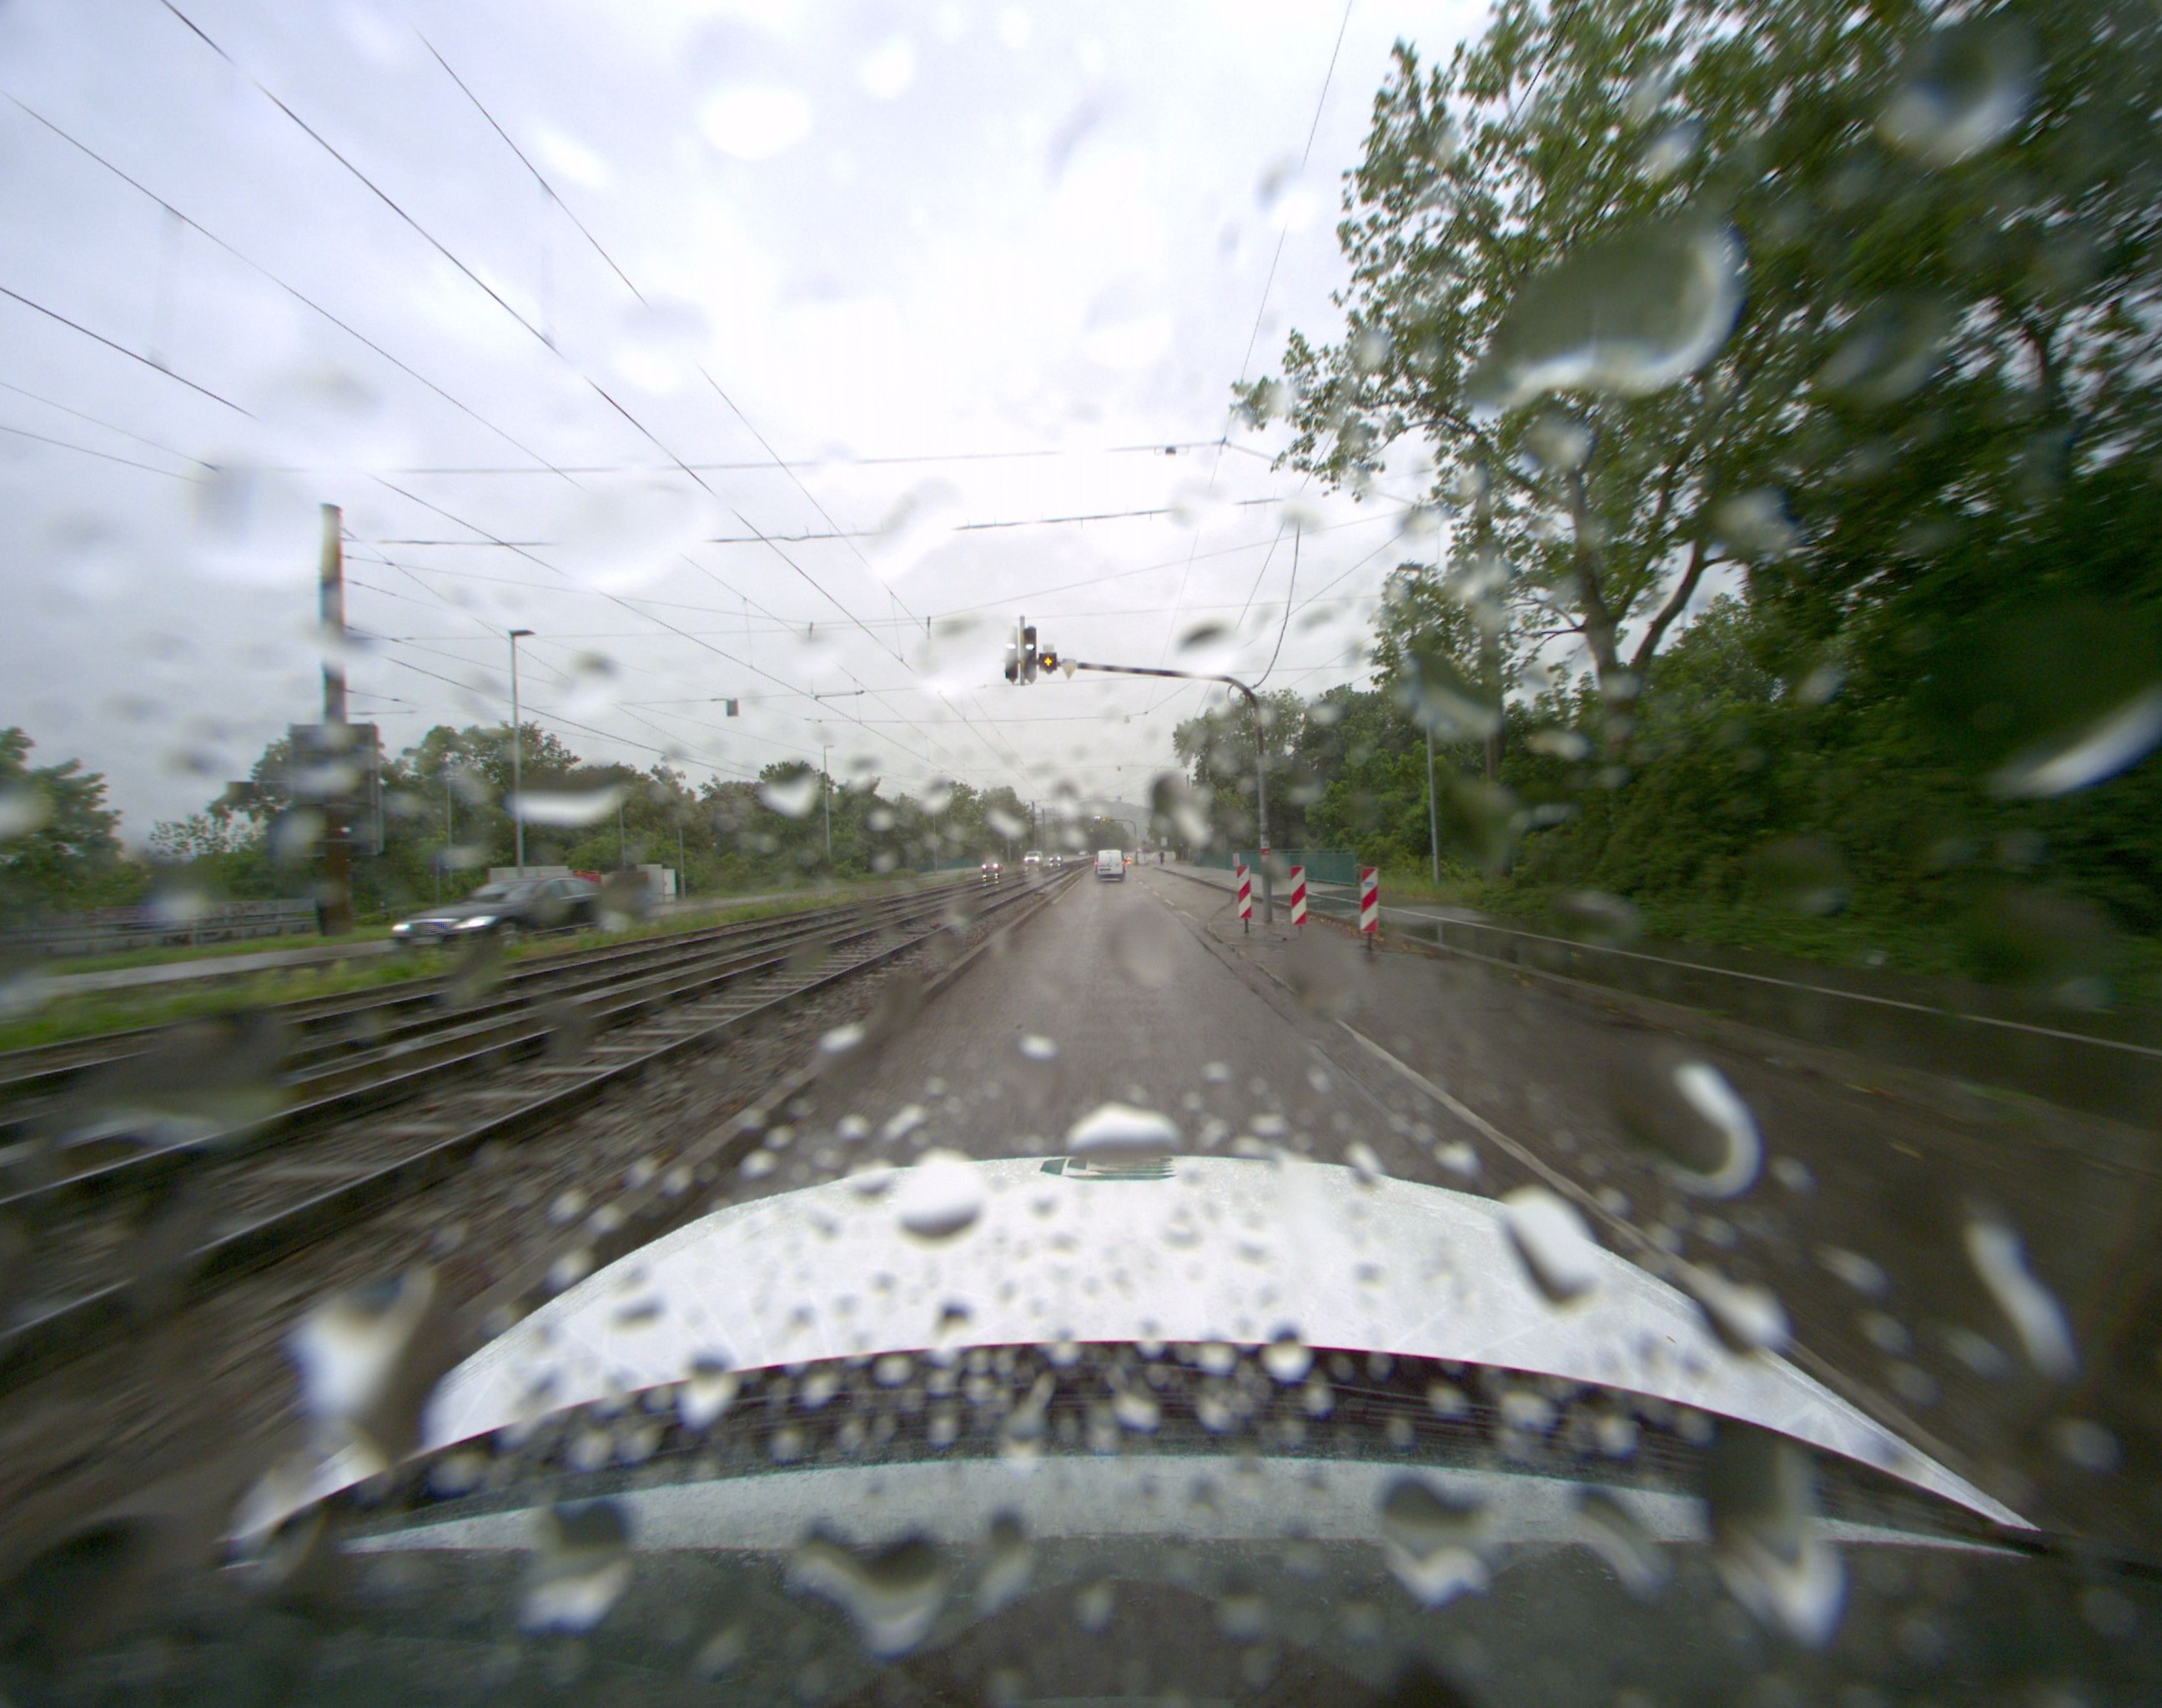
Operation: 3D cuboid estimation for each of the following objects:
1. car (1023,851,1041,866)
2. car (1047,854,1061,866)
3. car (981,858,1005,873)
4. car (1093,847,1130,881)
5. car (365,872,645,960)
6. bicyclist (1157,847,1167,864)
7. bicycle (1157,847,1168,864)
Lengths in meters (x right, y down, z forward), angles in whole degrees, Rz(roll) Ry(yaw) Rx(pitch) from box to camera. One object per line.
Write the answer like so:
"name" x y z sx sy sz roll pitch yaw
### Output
"car" -6.836 0.624 113.230 1.985 2.014 4.003 -1 -1 3
"car" -4.576 0.955 138.043 1.985 1.948 4.003 -1 -1 3
"car" -8.901 1.107 82.206 1.813 1.398 4.001 -2 0 2
"car" 1.768 0.569 47.188 1.986 1.849 4.002 -1 0 2
"car" -11.848 1.170 17.409 1.986 1.404 5.388 -2 0 2
"bicyclist" 10.143 0.169 101.516 1.096 2.014 1.675 -1 -1 1
"bicycle" 10.126 0.199 101.353 1.101 2.014 3.052 -1 -1 1
